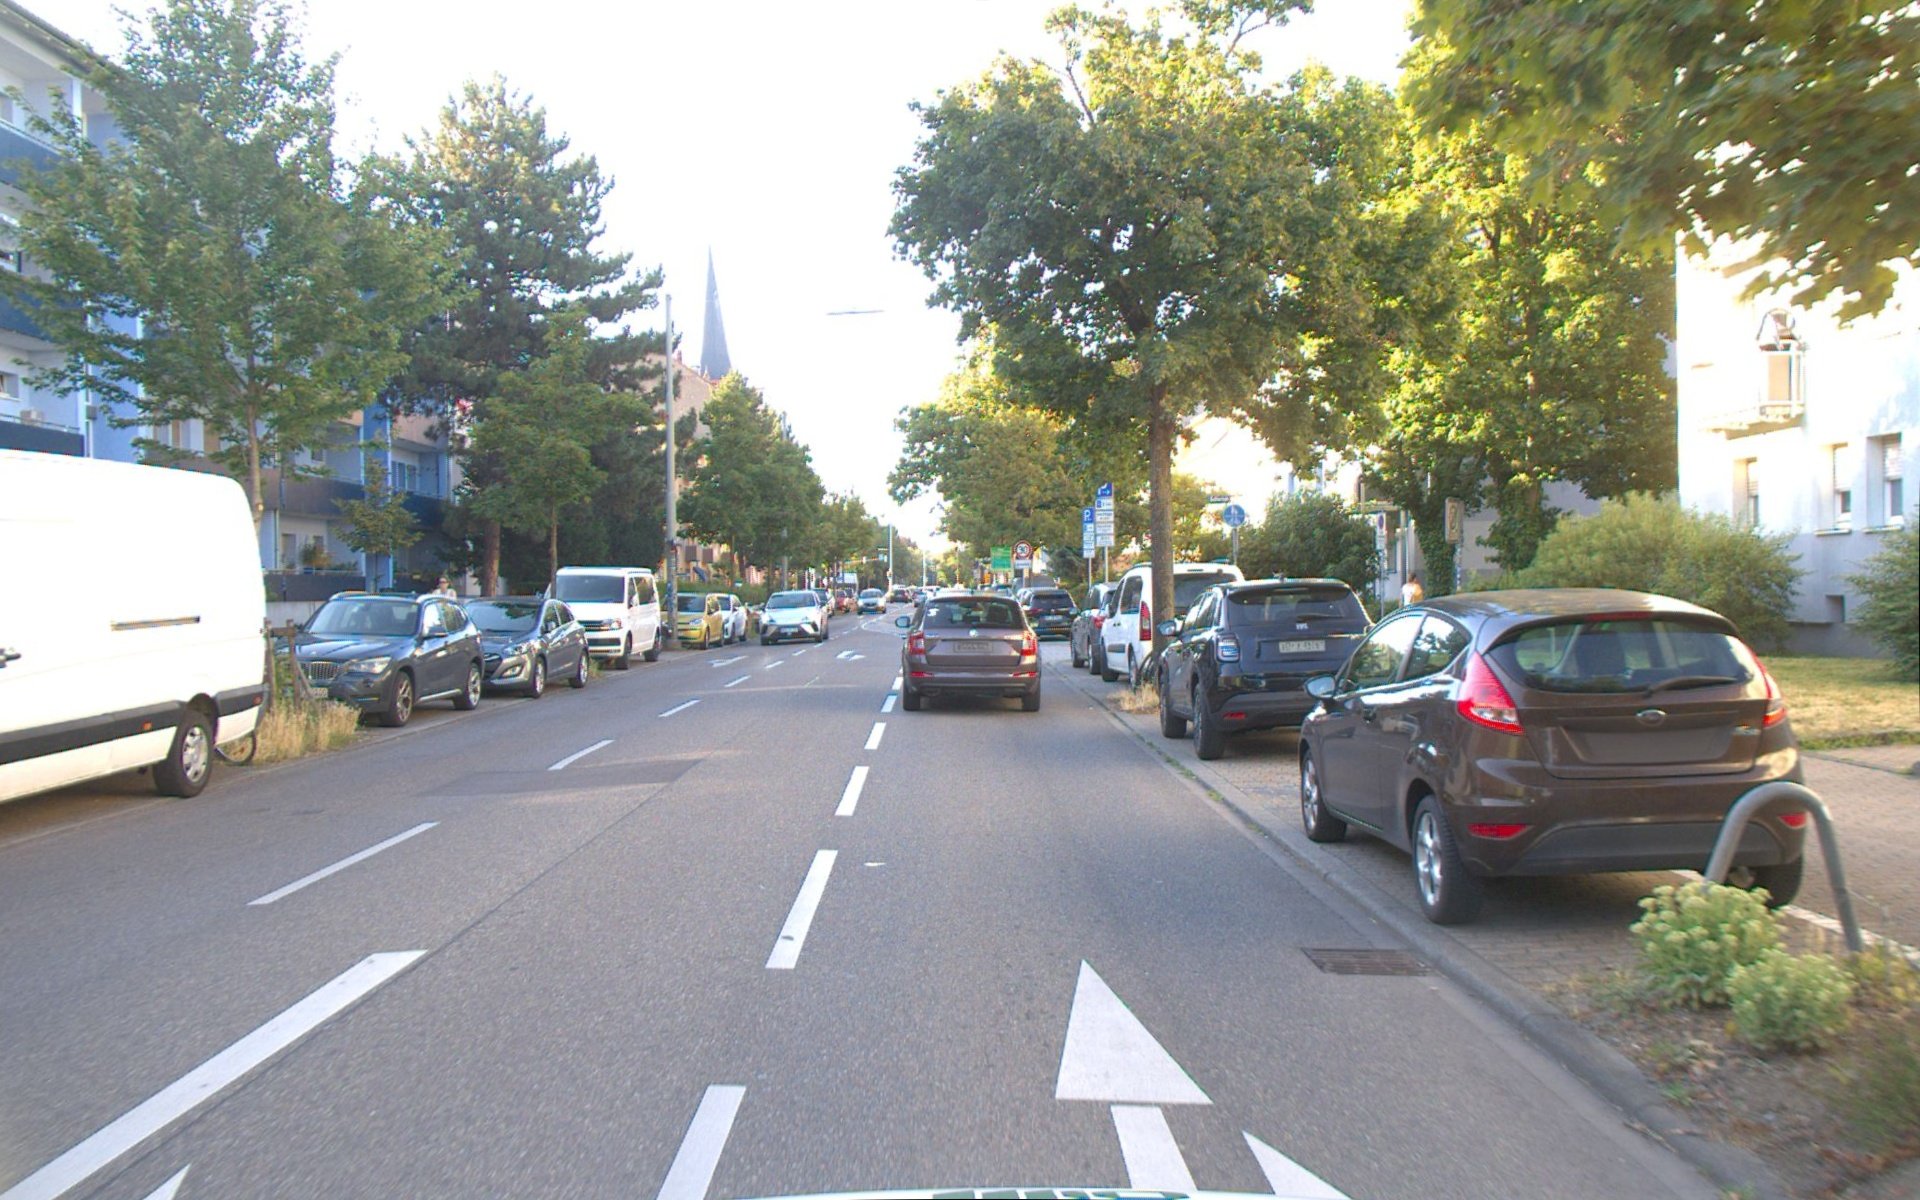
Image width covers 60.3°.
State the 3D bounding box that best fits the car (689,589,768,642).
[{"bbox_3d":[-6.993,0.440,50.284,1.744,1.520,3.972,1,0,2],"label":"car"}]

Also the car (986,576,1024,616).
[{"bbox_3d":[2.079,-0.198,77.038,1.718,1.745,4.001,1,0,1],"label":"car"}]

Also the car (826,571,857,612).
[{"bbox_3d":[-8.511,-0.607,119.476,1.951,2.829,5.502,1,0,-1],"label":"car"}]

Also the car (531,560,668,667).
[{"bbox_3d":[-7.467,0.244,34.798,1.831,2.066,5.300,0,0,-1],"label":"car"}]

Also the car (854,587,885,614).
[{"bbox_3d":[-5.609,-0.010,102.879,1.704,1.505,4.308,-4,1,-1],"label":"car"}]

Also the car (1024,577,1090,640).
[{"bbox_3d":[2.760,0.218,47.986,1.718,1.716,4.253,1,0,1],"label":"car"}]

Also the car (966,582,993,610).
[{"bbox_3d":[1.306,-0.281,112.797,1.718,1.837,4.000,1,0,0],"label":"car"}]

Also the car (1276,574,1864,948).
[{"bbox_3d":[2.903,0.646,8.810,1.580,1.491,3.958,-2,0,-1],"label":"car"}]

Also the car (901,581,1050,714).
[{"bbox_3d":[0.216,0.533,21.236,1.718,1.518,4.001,1,0,1],"label":"car"}]

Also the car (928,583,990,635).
[{"bbox_3d":[-0.060,0.298,53.354,1.854,1.532,3.789,3,-1,-1],"label":"car"}]

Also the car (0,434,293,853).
[{"bbox_3d":[-7.091,0.258,11.649,1.953,2.662,7.104,1,1,-1],"label":"car"}]

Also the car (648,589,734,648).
[{"bbox_3d":[-7.313,0.464,45.282,1.585,1.506,3.872,1,0,2],"label":"car"}]

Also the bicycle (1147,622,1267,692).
[{"bbox_3d":[3.294,0.755,22.054,1.524,0.884,0.392,-1,0,-10],"label":"bicycle"}]

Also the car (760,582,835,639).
[{"bbox_3d":[-4.750,0.288,48.699,1.745,1.520,3.971,-3,0,0],"label":"car"}]

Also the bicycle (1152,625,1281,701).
[{"bbox_3d":[3.170,0.771,20.457,1.521,0.884,0.393,-1,0,-4],"label":"bicycle"}]

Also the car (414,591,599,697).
[{"bbox_3d":[-7.041,0.631,26.091,1.657,1.509,4.144,-1,0,2],"label":"car"}]

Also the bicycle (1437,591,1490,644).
[{"bbox_3d":[9.662,0.323,31.765,0.465,0.961,1.680,-1,0,-1],"label":"bicycle"}]

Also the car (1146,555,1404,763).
[{"bbox_3d":[2.890,0.476,16.032,1.718,1.691,4.253,-2,0,1],"label":"car"}]

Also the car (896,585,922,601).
[{"bbox_3d":[-5.814,-0.797,187.681,1.963,1.780,3.979,-1,0,-18],"label":"car"}]

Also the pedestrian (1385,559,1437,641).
[{"bbox_3d":[9.760,-0.005,35.803,0.738,1.751,0.789,-2,0,-42],"label":"pedestrian"}]

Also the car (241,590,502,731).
[{"bbox_3d":[-7.306,0.671,21.036,1.637,1.570,4.474,-1,0,1],"label":"car"}]

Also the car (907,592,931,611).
[{"bbox_3d":[-3.306,0.116,132.222,1.746,1.506,3.968,1,0,-4],"label":"car"}]

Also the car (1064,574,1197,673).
[{"bbox_3d":[3.011,0.376,29.975,1.719,1.584,4.250,-2,1,-3],"label":"car"}]

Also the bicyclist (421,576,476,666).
[{"bbox_3d":[-9.343,0.371,30.220,0.590,1.621,0.940,-1,0,7],"label":"bicyclist"}]

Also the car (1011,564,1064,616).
[{"bbox_3d":[2.981,-0.397,64.364,1.877,1.893,5.634,-1,0,1],"label":"car"}]

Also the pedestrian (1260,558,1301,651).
[{"bbox_3d":[6.652,0.083,34.410,0.781,1.893,0.951,-1,0,10],"label":"pedestrian"}]

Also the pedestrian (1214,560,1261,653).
[{"bbox_3d":[5.821,0.131,34.706,0.733,1.893,1.068,-1,0,-1],"label":"pedestrian"}]

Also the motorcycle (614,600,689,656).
[{"bbox_3d":[-7.399,0.661,39.744,0.645,1.225,2.333,-1,1,20],"label":"motorcycle"}]

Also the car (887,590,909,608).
[{"bbox_3d":[-6.154,-0.120,163.754,1.955,1.780,3.995,-1,0,-6],"label":"car"}]

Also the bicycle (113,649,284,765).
[{"bbox_3d":[-7.183,1.000,15.617,1.441,1.032,0.440,0,0,7],"label":"bicycle"}]

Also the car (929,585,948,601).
[{"bbox_3d":[-2.259,-0.734,174.147,1.613,1.627,3.646,-1,0,-6],"label":"car"}]

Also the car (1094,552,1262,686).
[{"bbox_3d":[3.217,0.245,25.220,1.764,1.840,4.422,1,0,-3],"label":"car"}]

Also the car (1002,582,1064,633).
[{"bbox_3d":[2.349,0.232,54.179,1.719,1.584,4.103,1,0,-2],"label":"car"}]

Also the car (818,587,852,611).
[{"bbox_3d":[-8.046,-0.093,106.918,1.744,1.506,3.972,1,0,2],"label":"car"}]
